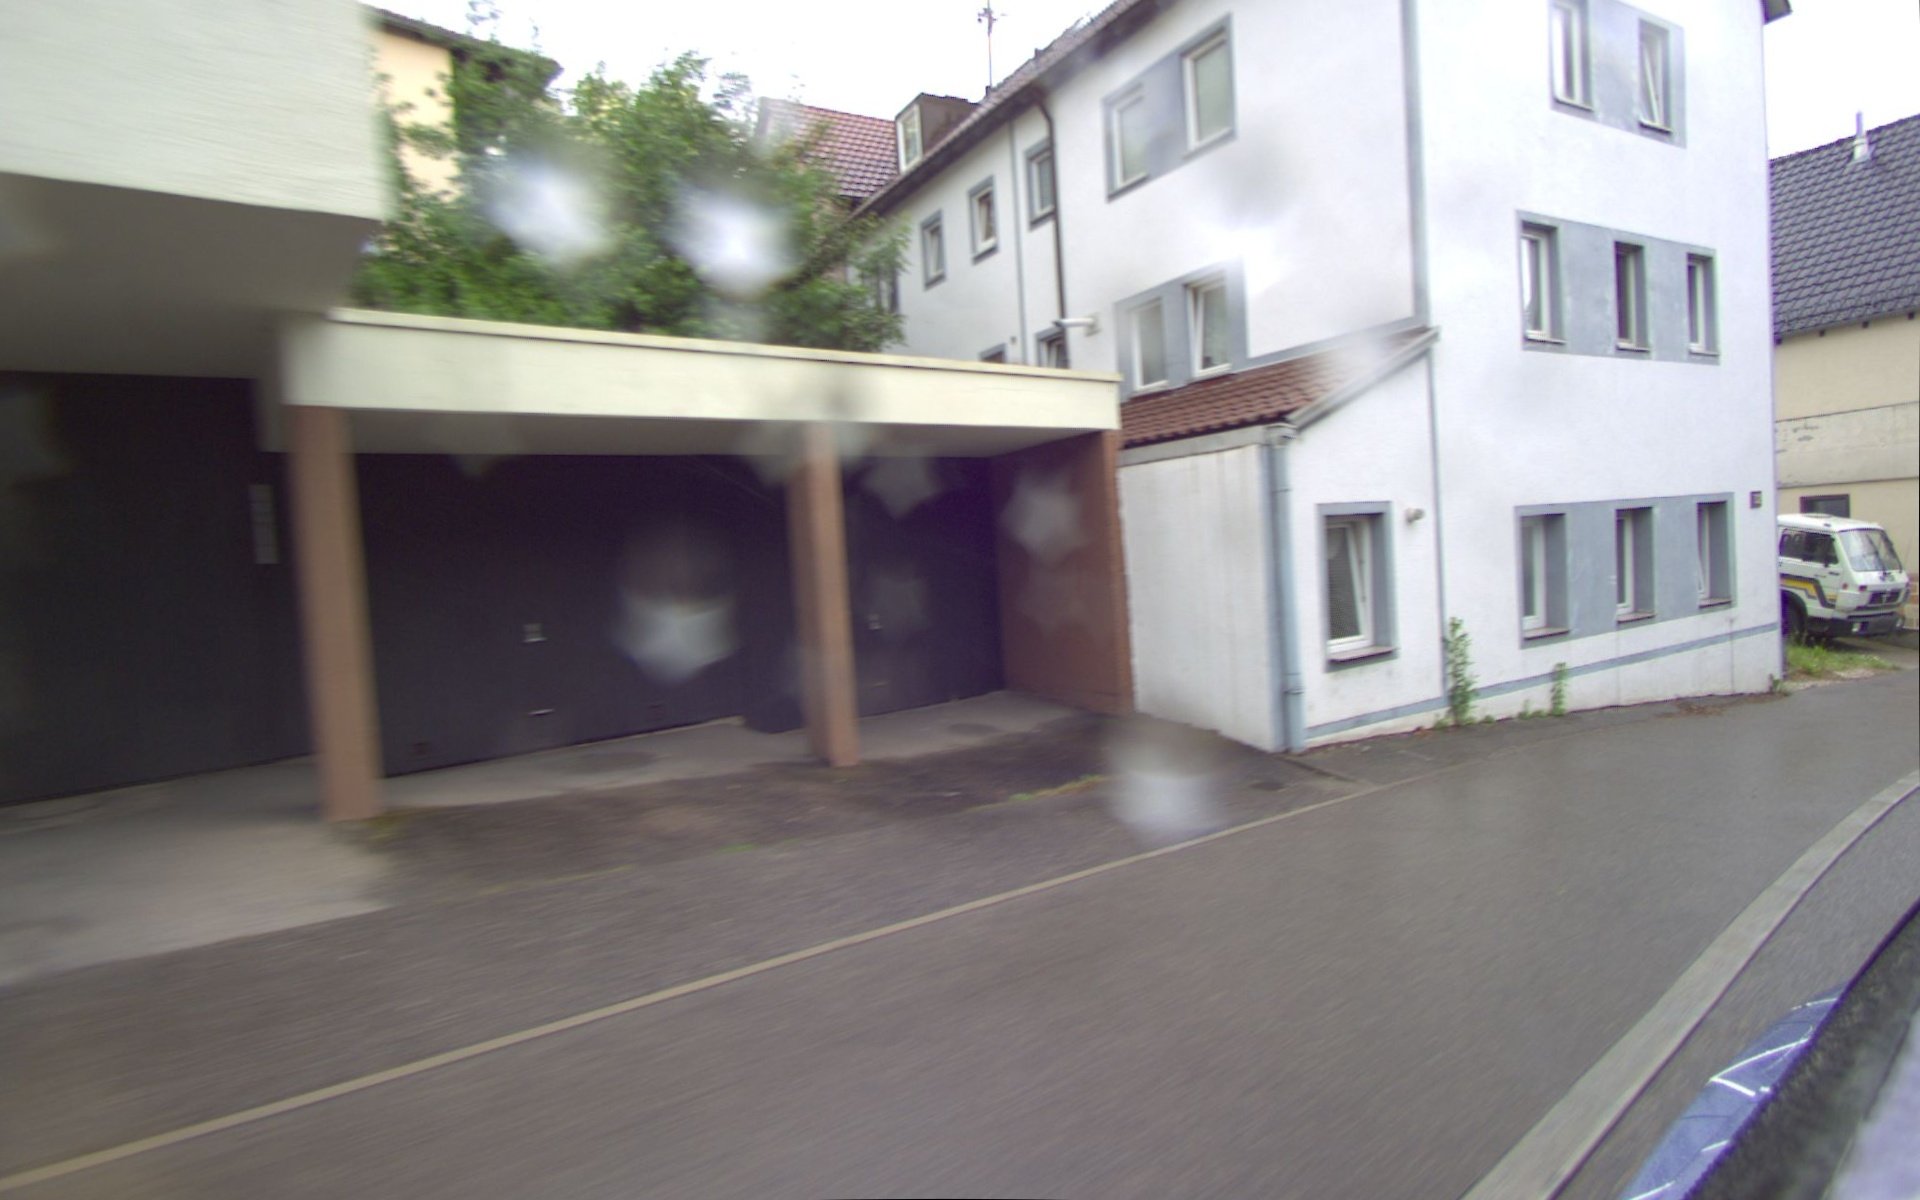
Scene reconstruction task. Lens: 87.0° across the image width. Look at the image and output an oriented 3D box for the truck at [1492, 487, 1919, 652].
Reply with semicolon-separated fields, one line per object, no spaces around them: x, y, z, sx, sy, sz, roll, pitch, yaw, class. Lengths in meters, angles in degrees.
14.657;-0.818;20.280;2.096;2.734;6.996;0;5;-27;truck
